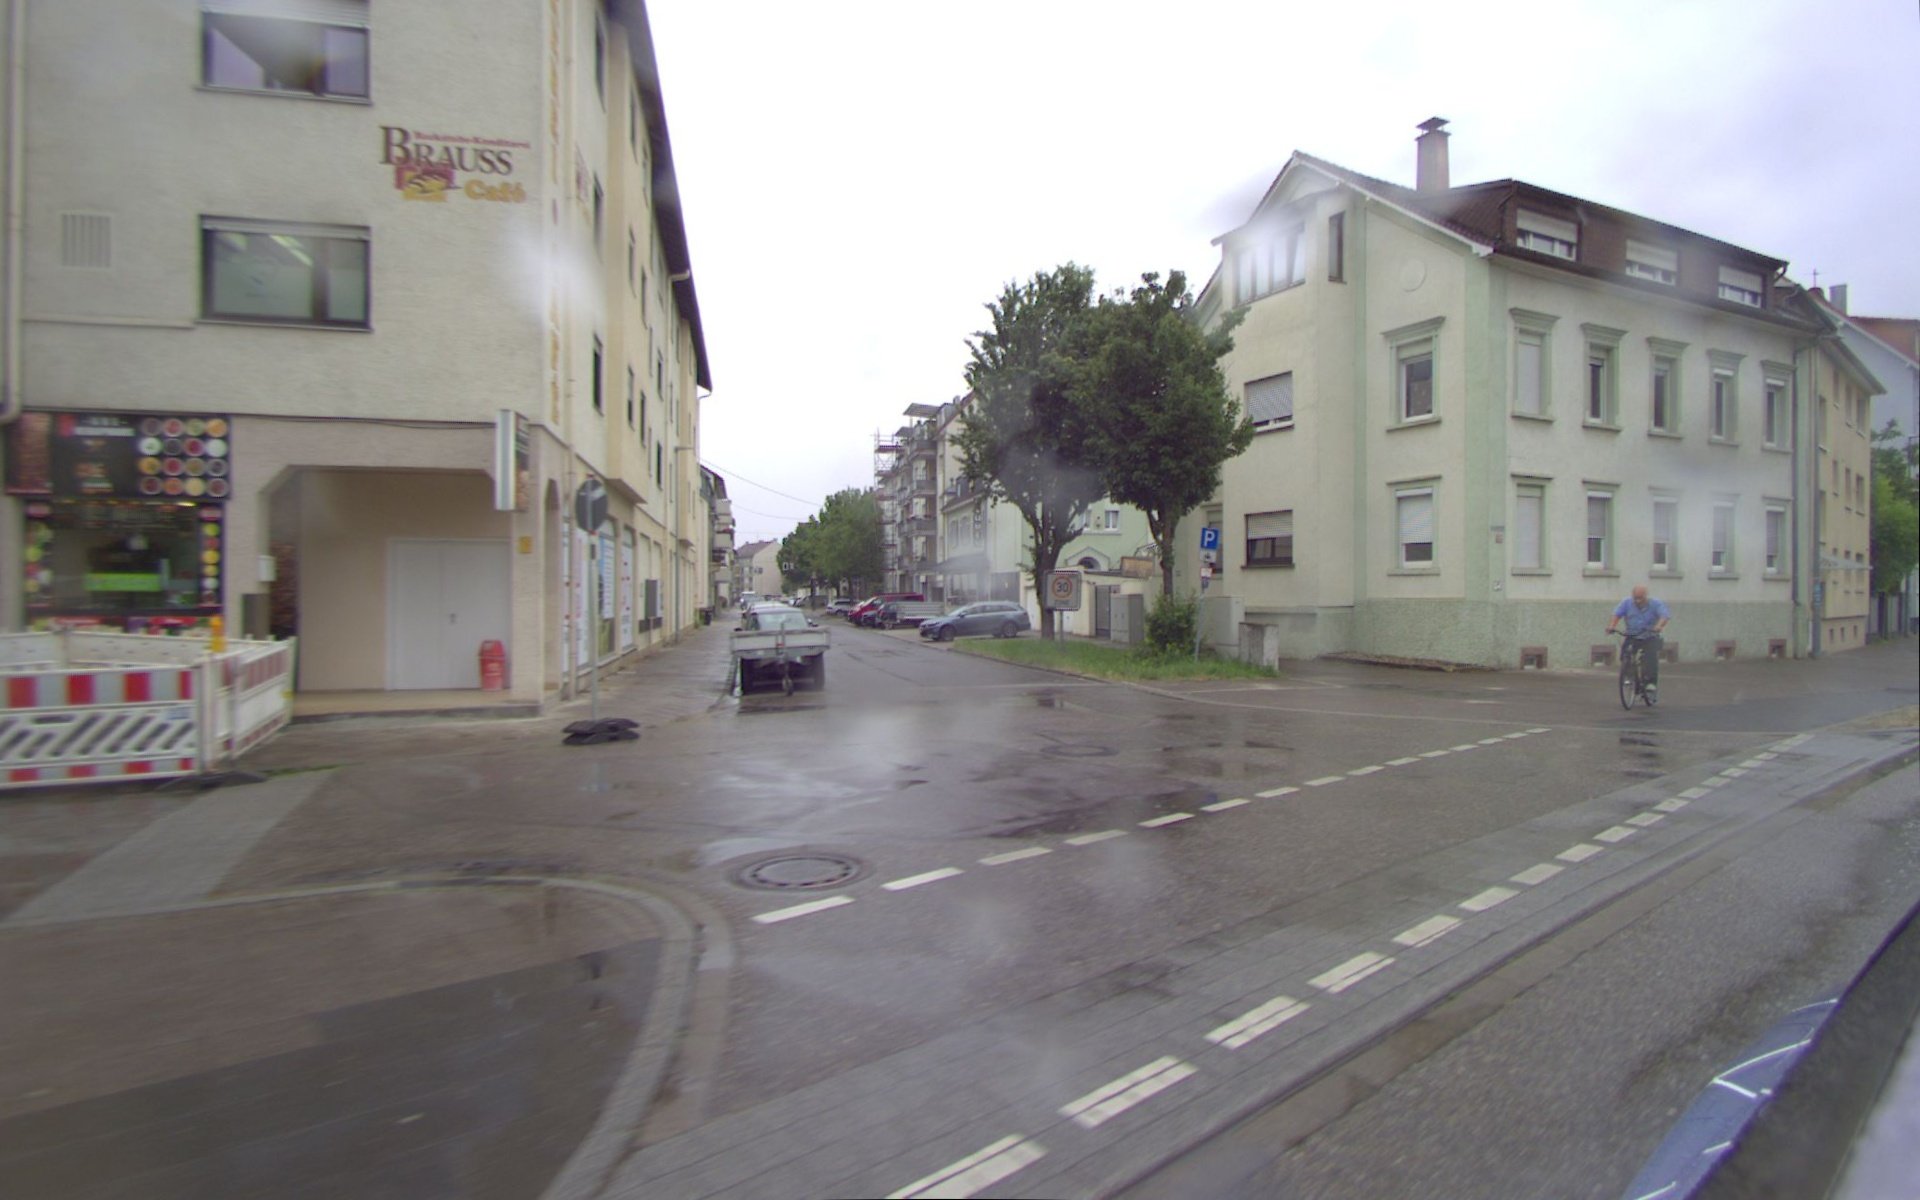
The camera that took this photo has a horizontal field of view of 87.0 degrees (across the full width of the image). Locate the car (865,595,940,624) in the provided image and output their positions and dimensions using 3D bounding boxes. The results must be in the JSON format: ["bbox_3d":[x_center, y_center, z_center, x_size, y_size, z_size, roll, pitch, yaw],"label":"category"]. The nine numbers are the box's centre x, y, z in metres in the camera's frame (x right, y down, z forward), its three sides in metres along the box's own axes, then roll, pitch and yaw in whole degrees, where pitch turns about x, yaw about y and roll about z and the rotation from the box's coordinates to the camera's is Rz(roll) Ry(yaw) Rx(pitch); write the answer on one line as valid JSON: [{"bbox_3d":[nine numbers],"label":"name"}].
[{"bbox_3d":[-3.277,0.532,57.254,3.916,1.606,2.004,0,0,-13],"label":"car"}]

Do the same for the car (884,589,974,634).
[{"bbox_3d":[-1.491,0.523,48.073,3.916,2.039,2.004,-1,0,-13],"label":"car"}]

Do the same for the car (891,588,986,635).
[{"bbox_3d":[-0.976,0.505,45.540,3.916,2.039,2.004,-1,0,-13],"label":"car"}]

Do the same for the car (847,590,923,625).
[{"bbox_3d":[-4.640,0.434,62.386,4.369,2.039,1.741,-1,0,-17],"label":"car"}]

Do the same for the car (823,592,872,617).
[{"bbox_3d":[-9.669,0.386,86.814,3.916,2.039,2.004,-1,0,-14],"label":"car"}]

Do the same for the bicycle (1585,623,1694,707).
[{"bbox_3d":[9.499,0.874,14.122,1.935,1.073,0.674,1,-1,-38],"label":"bicycle"}]

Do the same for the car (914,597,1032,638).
[{"bbox_3d":[0.521,0.683,40.574,4.371,1.554,1.741,-1,0,-18],"label":"car"}]

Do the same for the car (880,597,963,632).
[{"bbox_3d":[-1.980,0.698,51.534,3.916,1.683,2.004,-1,0,-13],"label":"car"}]

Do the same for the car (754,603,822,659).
[{"bbox_3d":[-4.836,0.797,28.093,1.702,1.421,4.187,-1,0,-11],"label":"car"}]

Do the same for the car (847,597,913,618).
[{"bbox_3d":[-5.226,0.480,65.646,3.916,1.297,2.004,0,0,-17],"label":"car"}]

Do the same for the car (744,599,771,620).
[{"bbox_3d":[-13.951,0.630,69.564,1.702,1.406,3.716,-1,0,-13],"label":"car"}]

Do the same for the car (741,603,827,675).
[{"bbox_3d":[-3.952,0.797,22.554,1.702,1.421,4.007,-1,0,-11],"label":"car"}]

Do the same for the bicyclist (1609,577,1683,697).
[{"bbox_3d":[9.457,0.495,13.952,0.702,1.603,0.640,1,-1,-37],"label":"bicyclist"}]

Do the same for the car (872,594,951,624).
[{"bbox_3d":[-2.657,0.469,54.976,3.916,1.594,2.004,-1,0,-14],"label":"car"}]

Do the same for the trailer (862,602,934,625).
[{"bbox_3d":[-3.652,0.780,59.578,3.916,1.297,1.791,0,0,-15],"label":"trailer"}]

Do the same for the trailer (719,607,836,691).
[{"bbox_3d":[-3.200,0.783,18.107,1.787,1.247,4.540,-1,0,-9],"label":"trailer"}]

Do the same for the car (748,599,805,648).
[{"bbox_3d":[-6.269,0.752,34.256,1.702,1.535,4.187,-1,0,-13],"label":"car"}]

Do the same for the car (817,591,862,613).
[{"bbox_3d":[-11.395,0.177,95.674,3.916,2.039,2.004,0,0,-14],"label":"car"}]

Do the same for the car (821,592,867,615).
[{"bbox_3d":[-10.480,0.321,91.216,3.916,2.039,2.004,-1,0,-14],"label":"car"}]
